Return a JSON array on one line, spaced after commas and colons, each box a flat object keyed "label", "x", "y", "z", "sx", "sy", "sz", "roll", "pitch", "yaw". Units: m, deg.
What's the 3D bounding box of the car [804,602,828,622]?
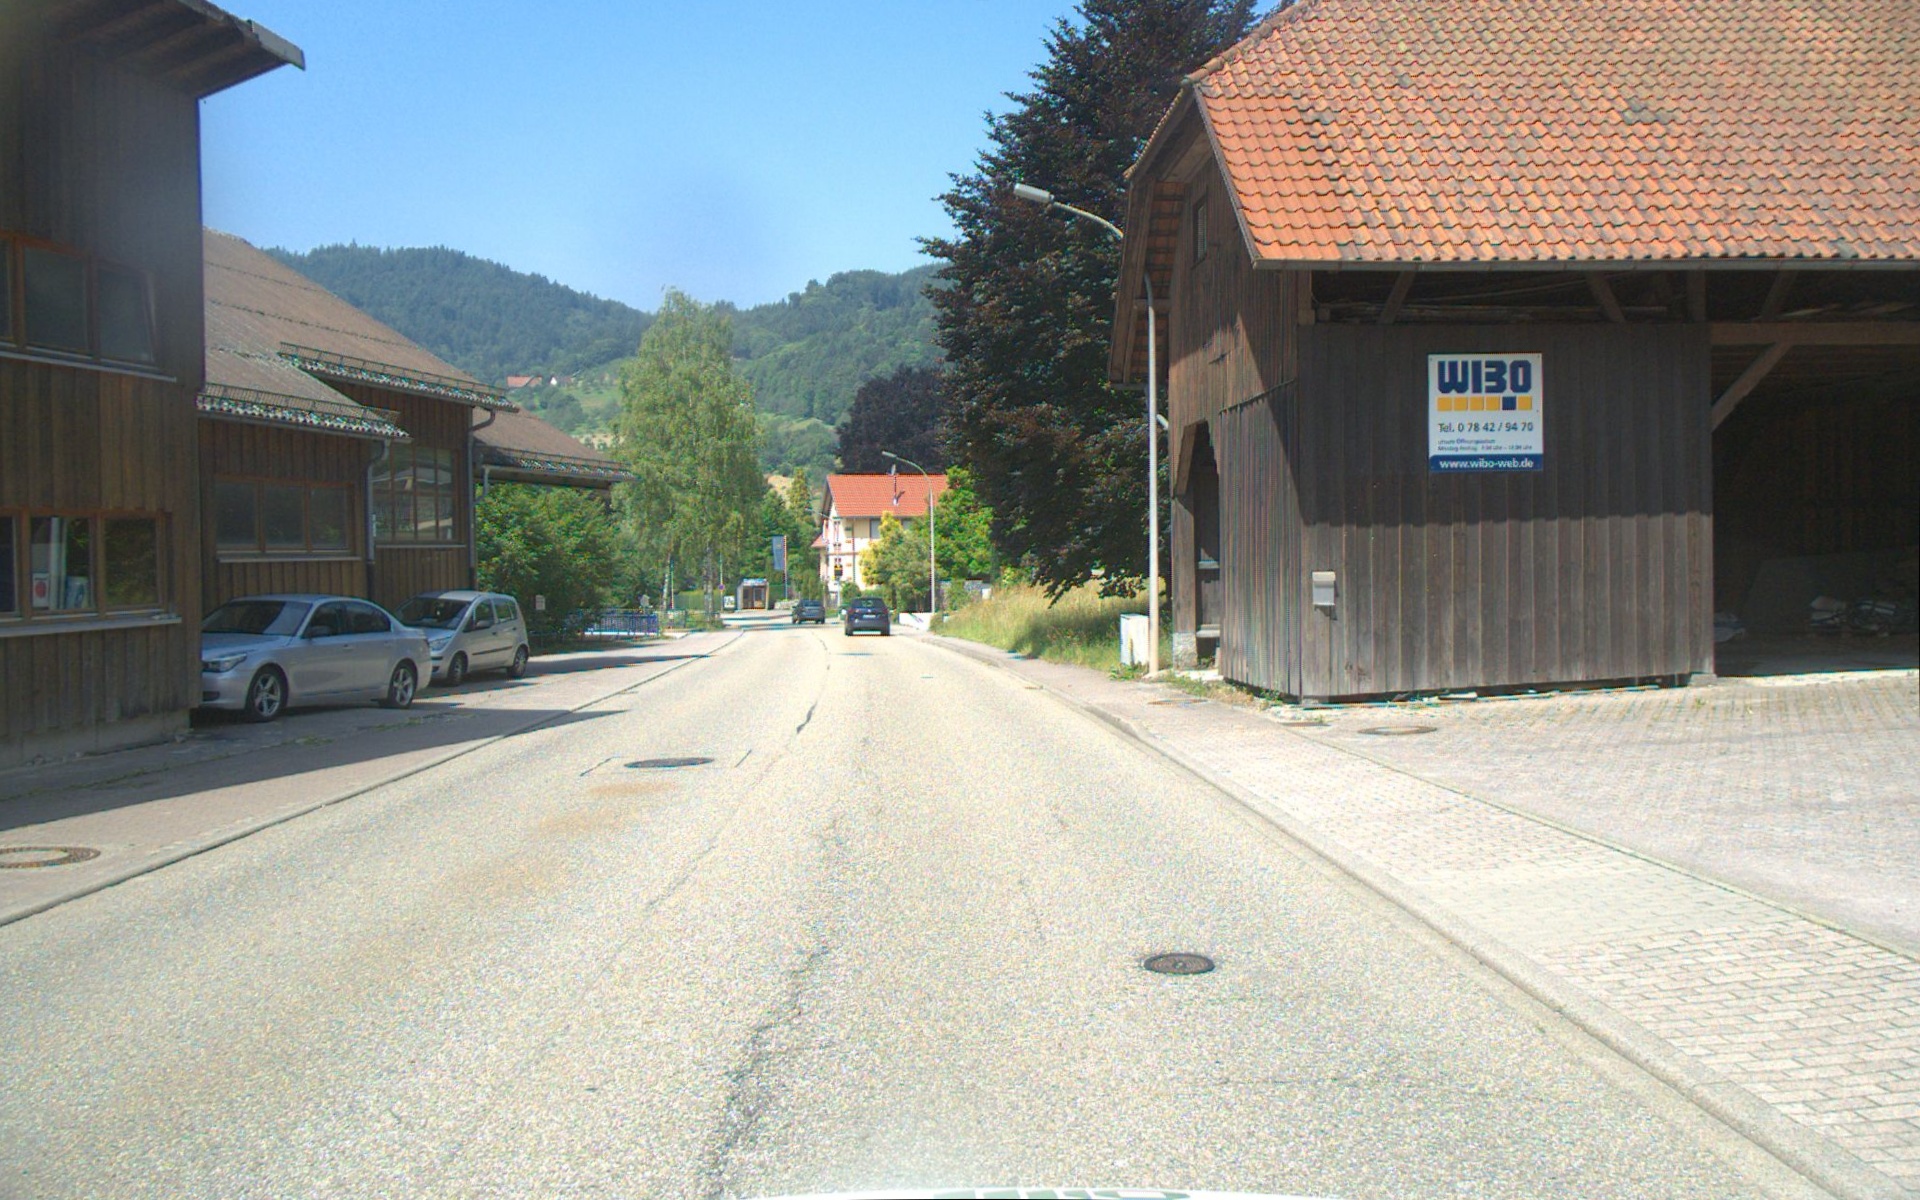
[{"label": "car", "x": -9.233, "y": 0.752, "z": 105.676, "sx": 1.448, "sy": 1.230, "sz": 2.381, "roll": -2, "pitch": 0, "yaw": -6}]

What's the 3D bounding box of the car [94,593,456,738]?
[{"label": "car", "x": -8.249, "y": 0.705, "z": 20.493, "sx": 1.692, "sy": 1.479, "sz": 4.809, "roll": 0, "pitch": 1, "yaw": 12}]

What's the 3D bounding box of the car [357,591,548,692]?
[{"label": "car", "x": -8.997, "y": 0.685, "z": 29.665, "sx": 1.547, "sy": 1.597, "sz": 4.027, "roll": 2, "pitch": 1, "yaw": 10}]

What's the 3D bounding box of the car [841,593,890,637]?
[{"label": "car", "x": -4.033, "y": 0.624, "z": 69.930, "sx": 1.882, "sy": 1.728, "sz": 3.784, "roll": -2, "pitch": 0, "yaw": -6}]
